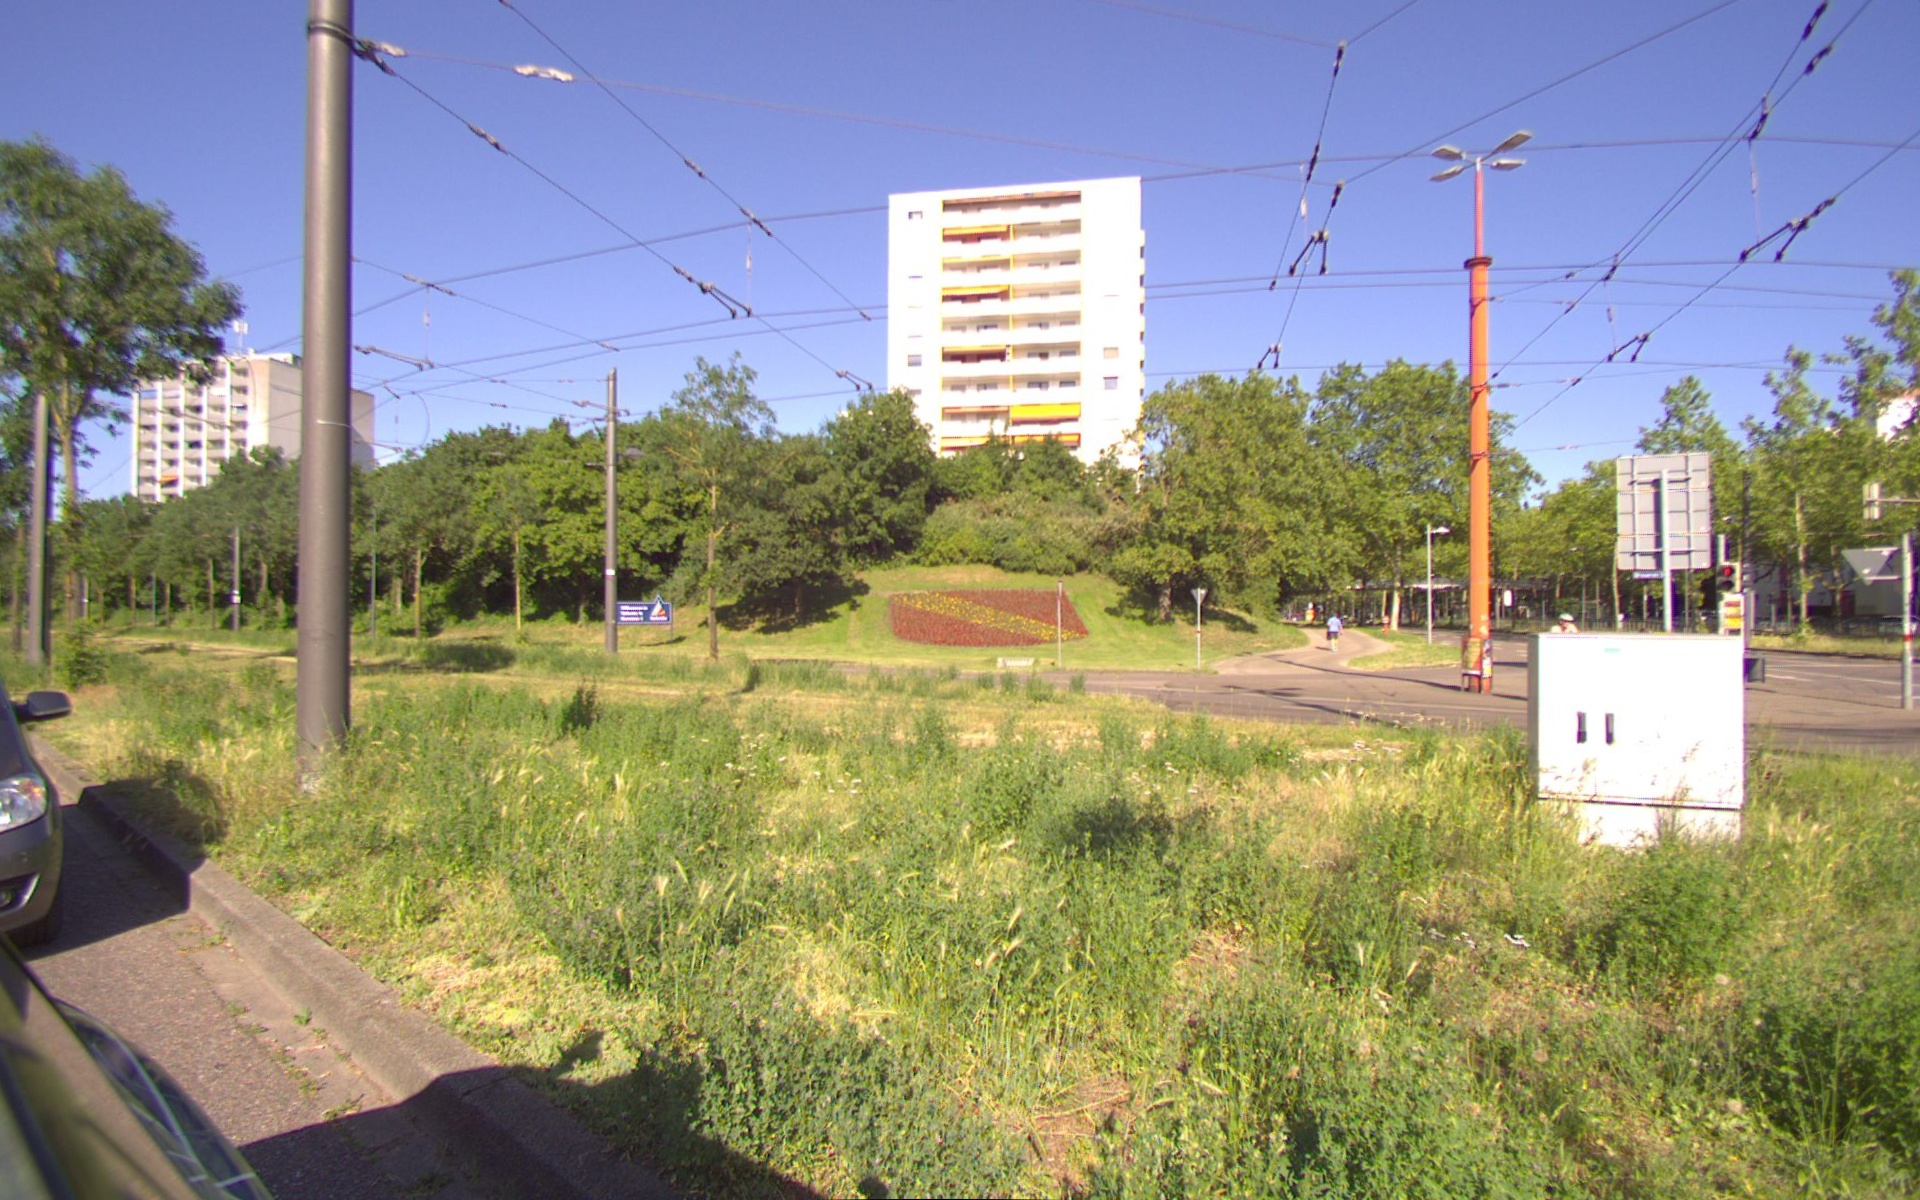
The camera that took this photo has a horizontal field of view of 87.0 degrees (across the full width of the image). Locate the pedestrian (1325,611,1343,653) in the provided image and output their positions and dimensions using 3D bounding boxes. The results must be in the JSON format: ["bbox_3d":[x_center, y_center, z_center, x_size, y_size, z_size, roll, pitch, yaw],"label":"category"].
[{"bbox_3d":[17.309,1.467,46.837,0.729,1.949,0.726,-1,-2,24],"label":"pedestrian"}]

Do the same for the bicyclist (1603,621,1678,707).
[{"bbox_3d":[13.352,1.239,19.880,0.920,1.650,0.741,0,-1,-1],"label":"bicyclist"}]

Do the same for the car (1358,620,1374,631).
[{"bbox_3d":[59.572,3.733,148.554,1.928,1.606,3.882,-1,-1,20],"label":"car"}]

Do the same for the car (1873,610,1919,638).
[{"bbox_3d":[65.245,1.645,69.865,3.931,1.829,2.006,1,-2,-27],"label":"car"}]

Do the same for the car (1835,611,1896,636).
[{"bbox_3d":[66.012,1.702,73.761,3.931,1.829,2.006,1,-2,-27],"label":"car"}]

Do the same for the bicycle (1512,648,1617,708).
[{"bbox_3d":[12.090,1.534,20.315,0.915,1.095,1.888,0,-1,-2],"label":"bicycle"}]

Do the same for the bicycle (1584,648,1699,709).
[{"bbox_3d":[13.356,1.519,19.914,0.915,1.095,1.888,0,-1,-2],"label":"bicycle"}]

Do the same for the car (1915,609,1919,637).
[{"bbox_3d":[64.403,1.508,65.903,3.931,1.829,2.006,1,-2,-27],"label":"car"}]

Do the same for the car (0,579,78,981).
[{"bbox_3d":[-5.941,0.751,5.040,4.382,1.619,1.754,-1,-2,41],"label":"car"}]

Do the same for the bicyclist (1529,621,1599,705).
[{"bbox_3d":[12.094,1.256,20.299,0.920,1.650,0.741,0,-1,-1],"label":"bicyclist"}]
